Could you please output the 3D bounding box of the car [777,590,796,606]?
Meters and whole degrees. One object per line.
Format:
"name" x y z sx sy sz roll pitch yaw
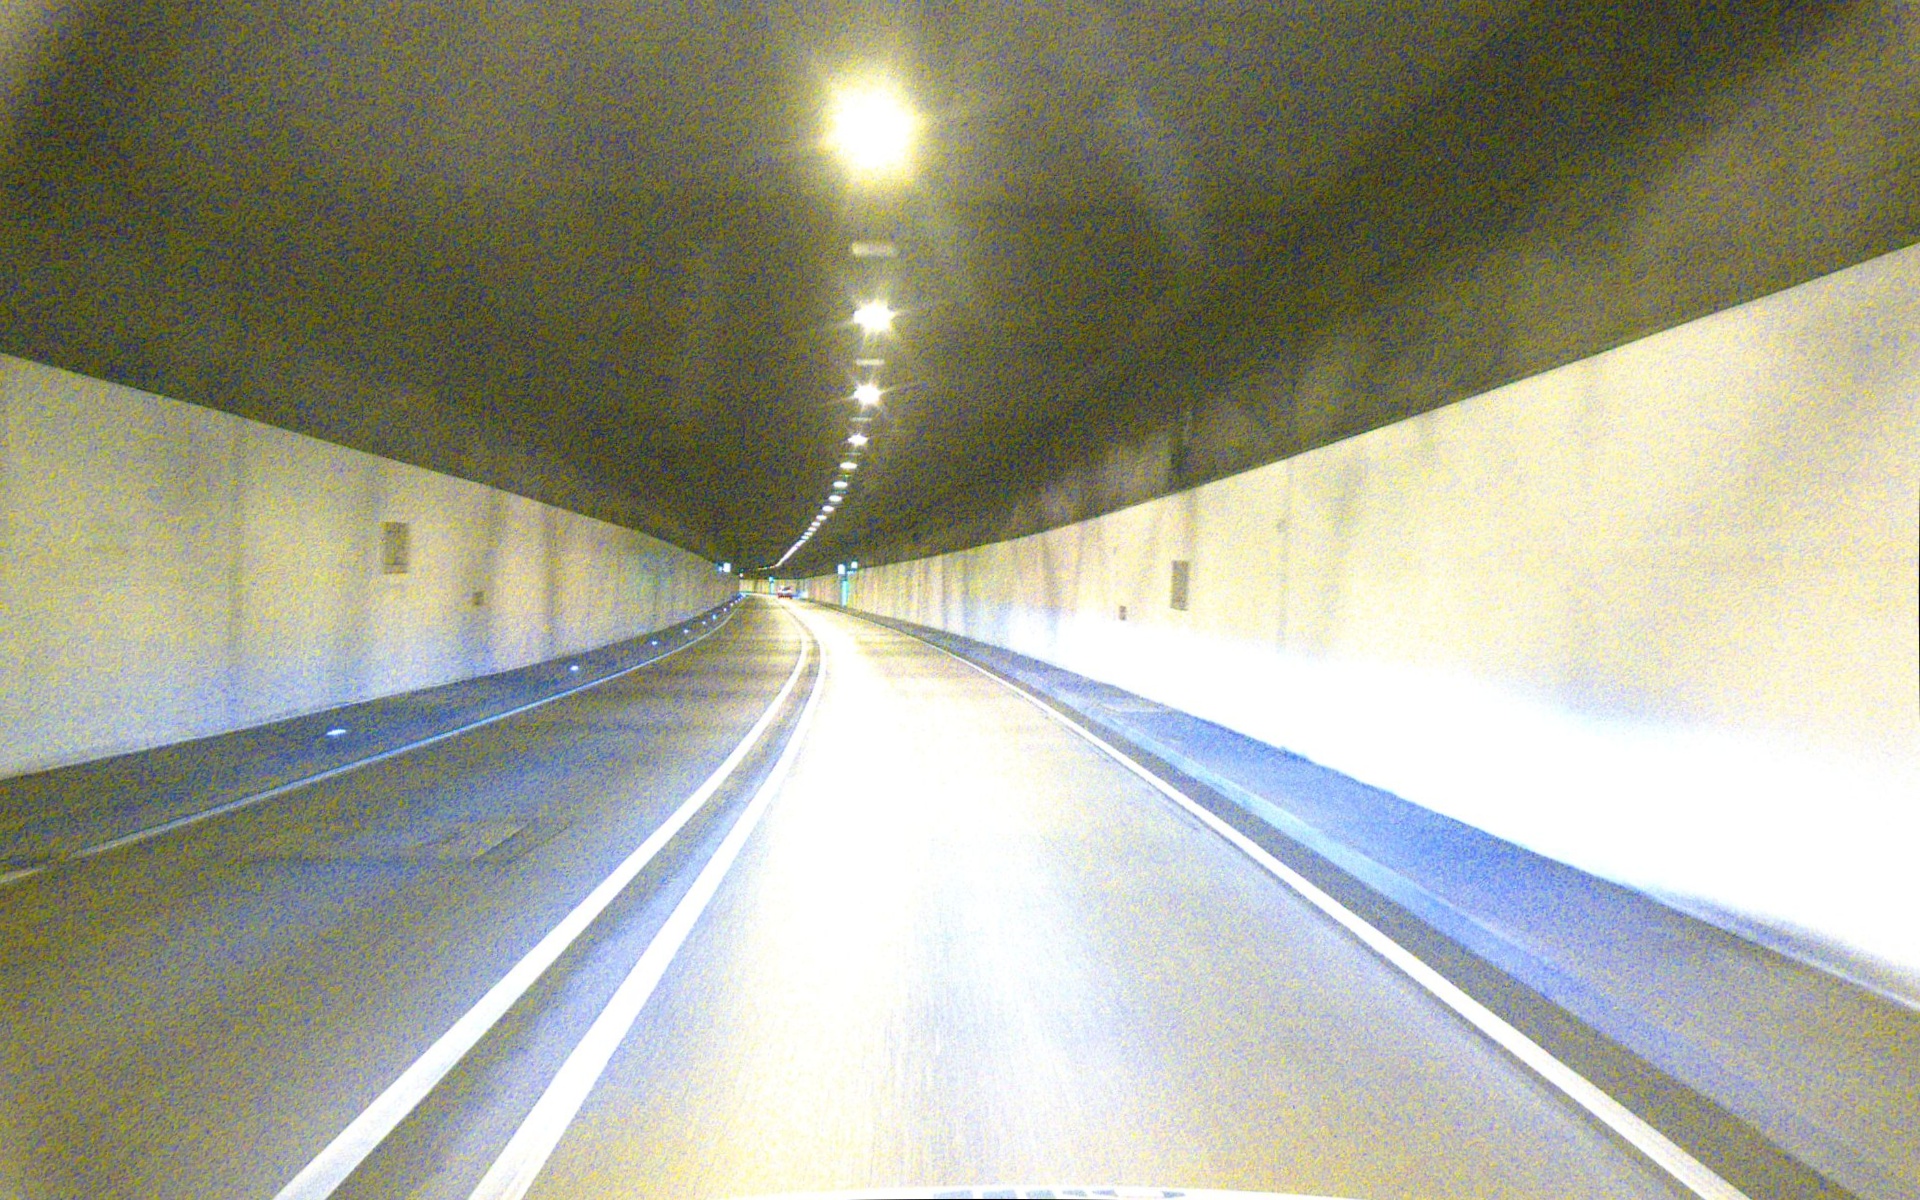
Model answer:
"car" -22.571 -0.273 215.288 1.932 1.973 4.598 2 -1 -12
